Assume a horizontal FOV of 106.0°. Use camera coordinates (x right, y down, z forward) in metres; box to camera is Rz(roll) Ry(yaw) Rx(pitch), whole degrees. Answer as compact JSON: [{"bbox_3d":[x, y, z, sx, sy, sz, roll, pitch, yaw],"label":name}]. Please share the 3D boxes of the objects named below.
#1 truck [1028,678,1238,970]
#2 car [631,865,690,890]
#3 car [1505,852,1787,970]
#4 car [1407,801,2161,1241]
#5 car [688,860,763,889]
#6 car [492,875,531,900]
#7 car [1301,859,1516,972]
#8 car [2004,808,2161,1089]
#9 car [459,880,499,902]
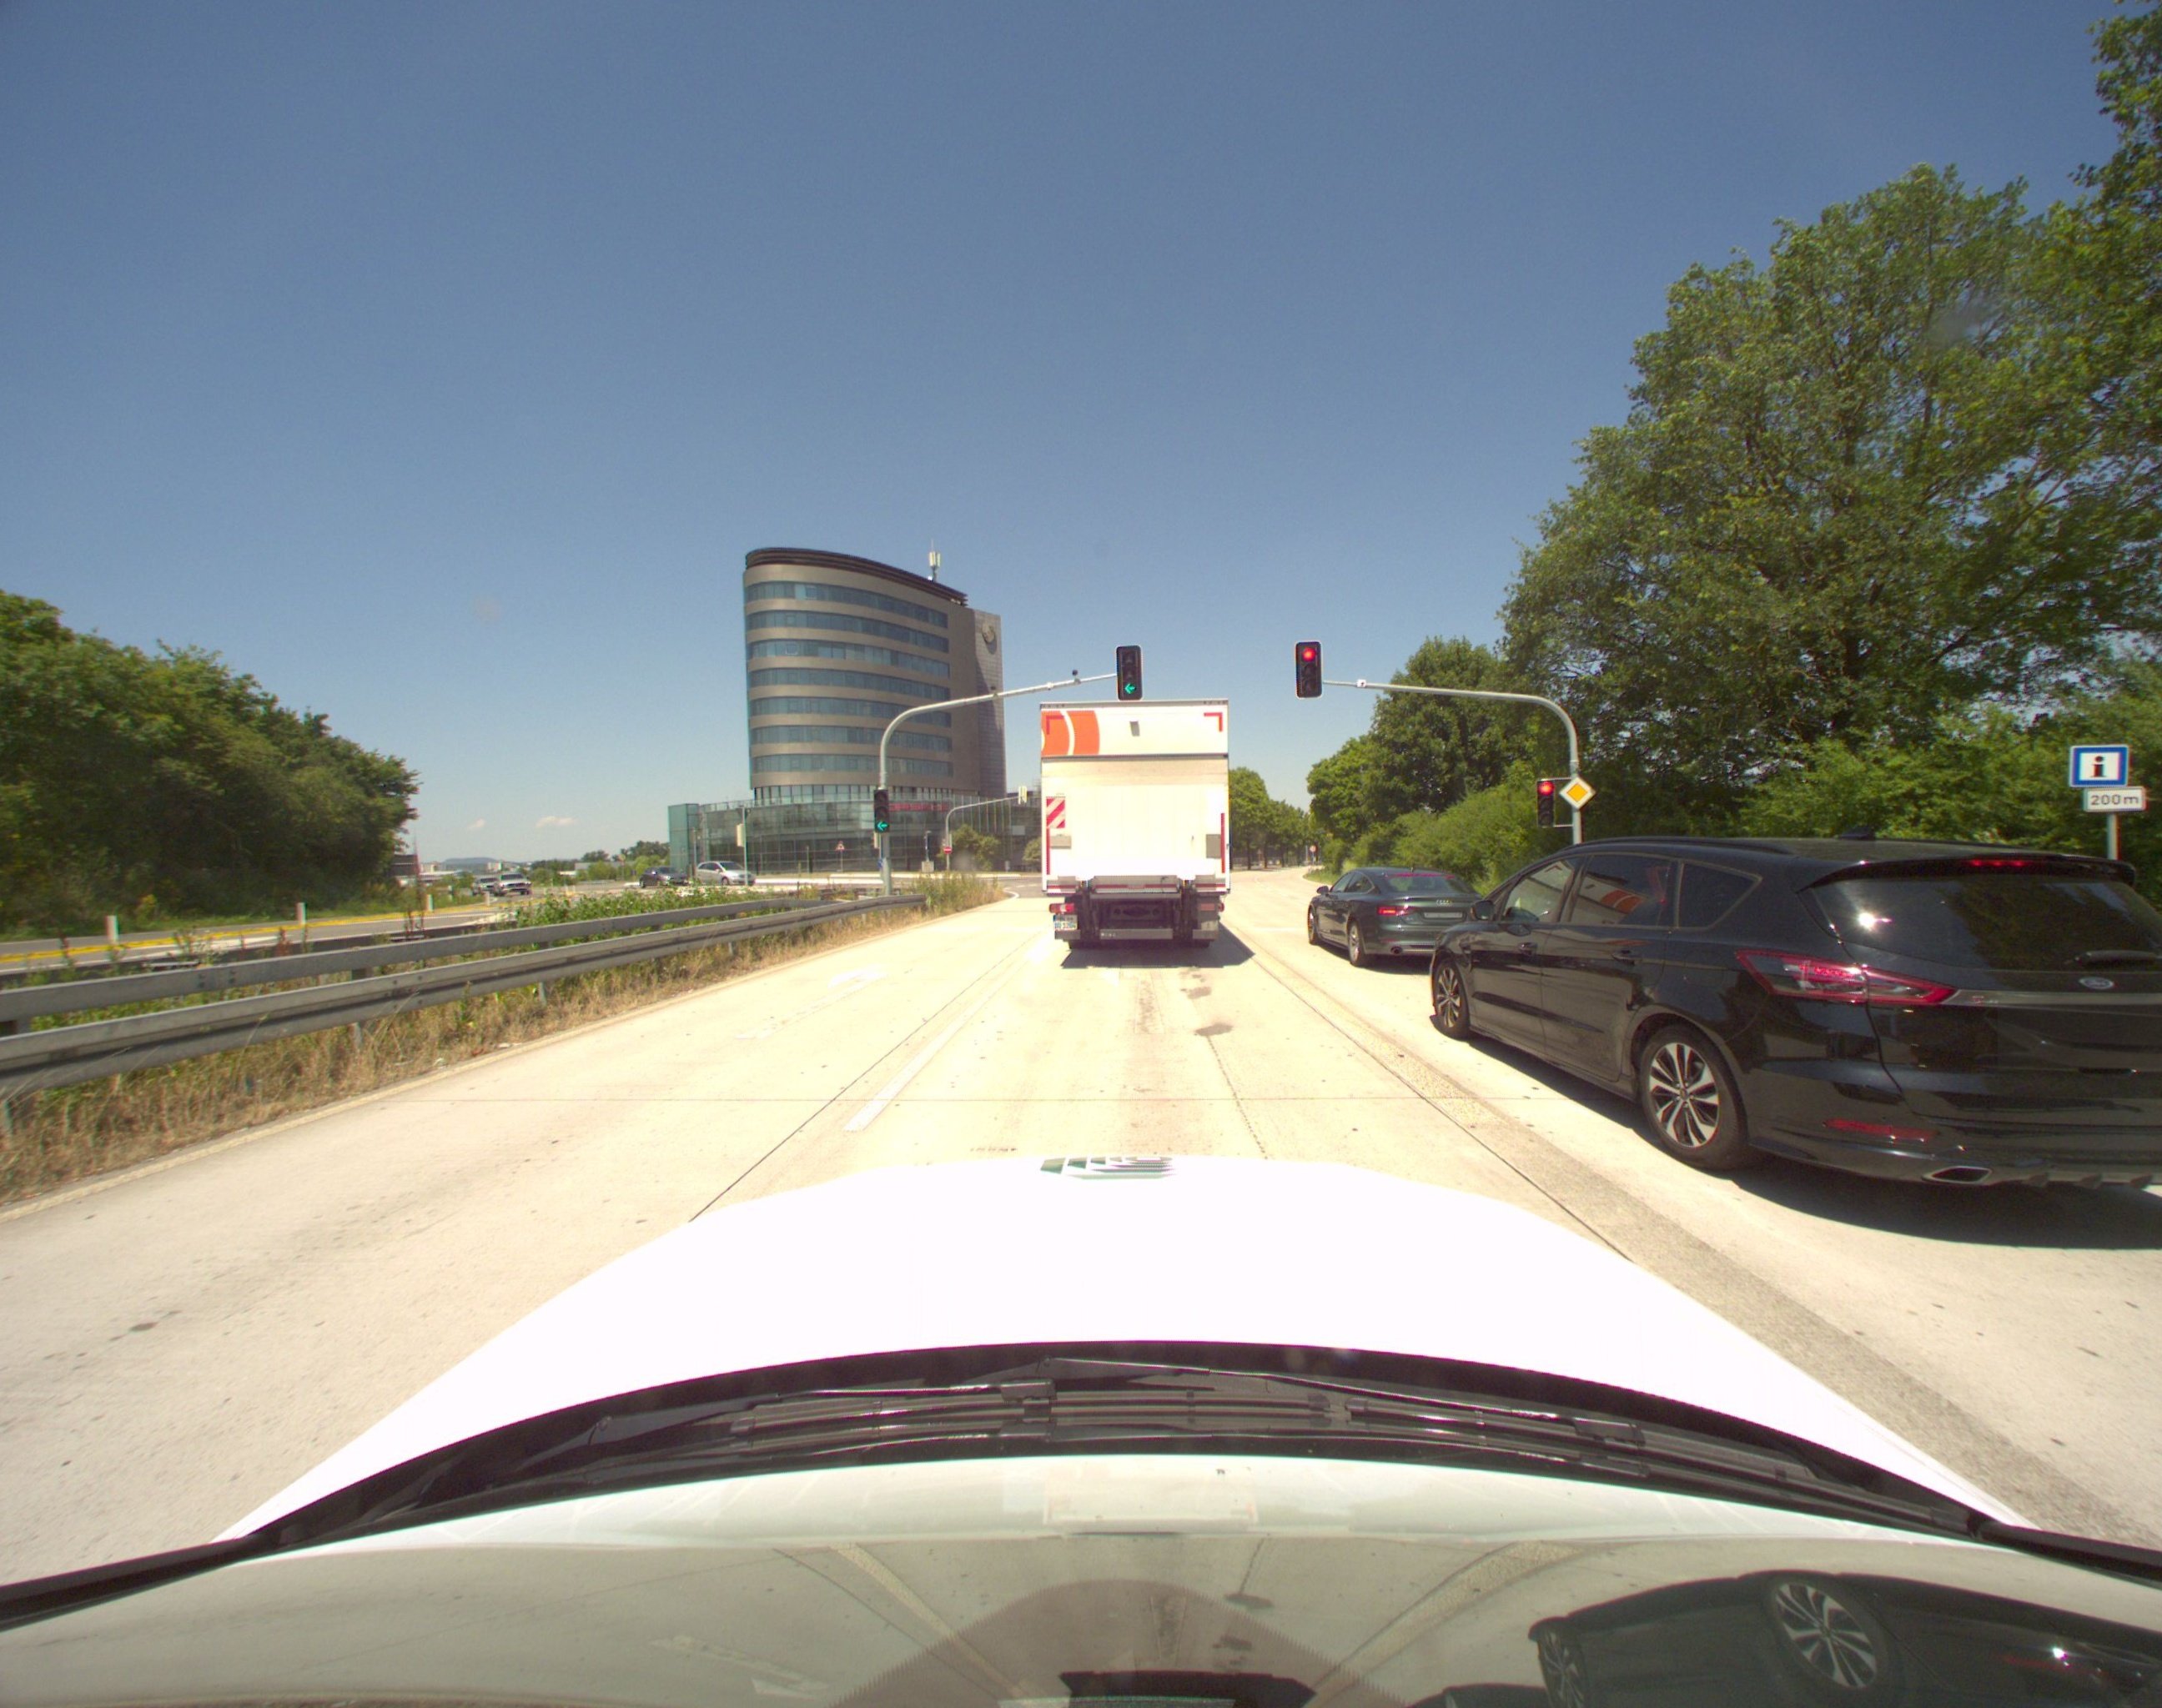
[{"bbox_3d":[1.026,-0.330,15.551,2.757,3.860,9.380,-1,-1,4],"label":"truck"},{"bbox_3d":[-27.425,1.555,53.047,4.273,1.456,1.708,-3,-3,37],"label":"car"},{"bbox_3d":[8.248,0.760,12.347,1.762,1.509,3.651,0,-1,0],"label":"car"},{"bbox_3d":[3.878,0.654,5.374,1.776,1.639,4.650,0,-1,3],"label":"car"},{"bbox_3d":[-21.168,1.227,48.482,4.274,1.595,1.787,-3,-2,28],"label":"car"},{"bbox_3d":[-42.666,2.460,60.975,2.010,1.773,4.800,0,-1,-40],"label":"car"},{"bbox_3d":[4.738,0.809,12.570,1.760,1.410,4.615,0,-1,4],"label":"car"},{"bbox_3d":[7.768,0.584,3.721,1.761,1.807,4.794,0,-1,2],"label":"car"},{"bbox_3d":[-51.352,3.138,69.414,4.598,1.692,2.012,-1,-1,44],"label":"car"}]
